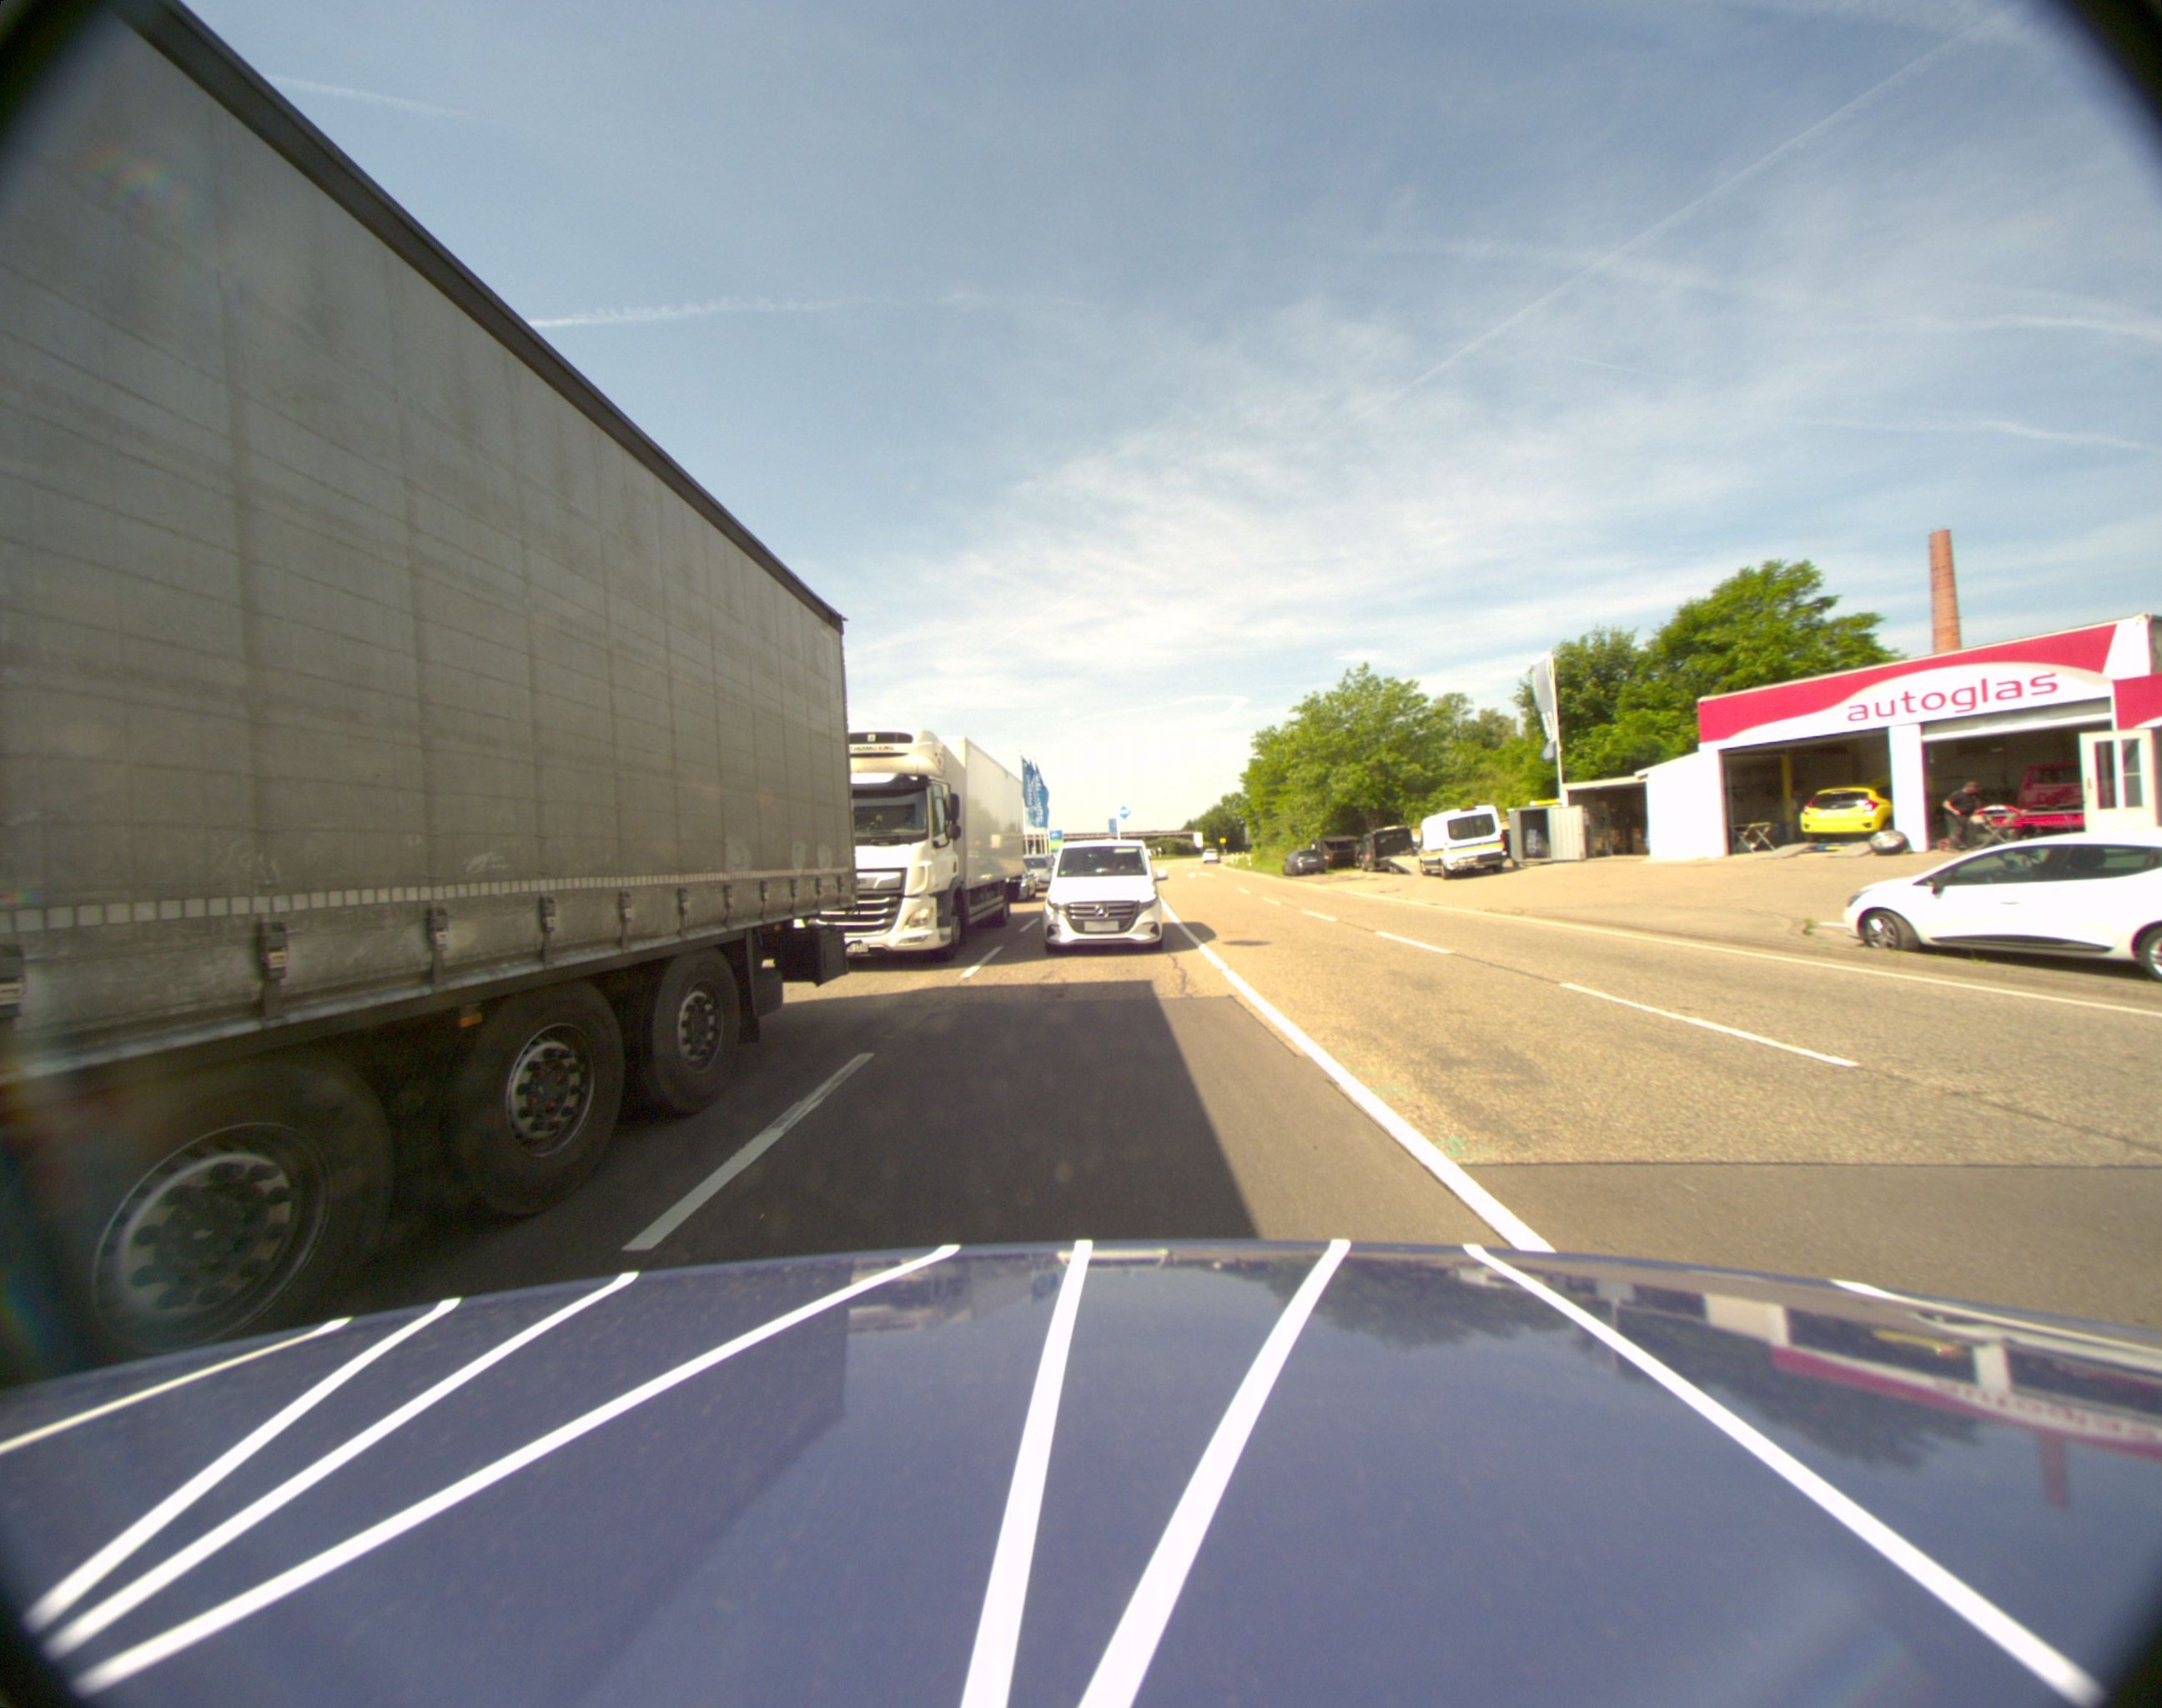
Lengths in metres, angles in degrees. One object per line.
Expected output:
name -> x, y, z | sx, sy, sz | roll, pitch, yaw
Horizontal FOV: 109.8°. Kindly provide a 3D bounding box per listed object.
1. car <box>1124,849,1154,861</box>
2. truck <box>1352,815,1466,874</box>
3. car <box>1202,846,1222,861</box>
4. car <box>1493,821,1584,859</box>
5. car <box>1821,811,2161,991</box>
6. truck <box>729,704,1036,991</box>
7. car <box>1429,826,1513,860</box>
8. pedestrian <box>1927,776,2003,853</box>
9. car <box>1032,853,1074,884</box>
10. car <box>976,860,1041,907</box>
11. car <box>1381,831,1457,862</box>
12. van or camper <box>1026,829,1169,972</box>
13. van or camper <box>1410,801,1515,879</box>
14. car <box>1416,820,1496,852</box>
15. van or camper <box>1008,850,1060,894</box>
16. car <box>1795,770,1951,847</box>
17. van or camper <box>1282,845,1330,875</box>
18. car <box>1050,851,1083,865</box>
car -> 9.227, 0.217, 120.751 | 4.248, 1.628, 1.825 | -4, -1, 30
truck -> 15.850, -0.472, 37.462 | 2.336, 2.283, 8.805 | -8, 0, 6
car -> 14.933, -0.088, 86.909 | 1.939, 1.665, 4.002 | -2, 1, 7
car -> 21.343, -0.648, 35.470 | 3.674, 1.521, 1.736 | -4, 1, -23
car -> 10.889, 0.397, 8.252 | 1.783, 1.608, 4.000 | -4, 0, 1
truck -> -3.071, -0.111, 16.048 | 2.886, 3.789, 11.142 | -3, 0, 2
car -> 20.267, -0.558, 39.501 | 3.673, 1.460, 1.737 | -4, 1, -17
pedestrian -> 21.251, -0.936, 18.275 | 0.724, 1.752, 0.894 | -4, 1, 3
car -> -1.498, 0.761, 42.161 | 1.804, 1.563, 3.714 | -2, 1, 5
car -> -2.587, 1.013, 28.023 | 1.739, 1.420, 4.225 | -4, 0, 2
car -> 19.238, -0.409, 43.250 | 3.673, 1.502, 1.715 | -4, 1, -17
van or camper -> 0.319, 0.668, 13.586 | 1.998, 2.002, 5.290 | -2, 0, 2
van or camper -> 14.676, -0.559, 29.647 | 2.158, 2.484, 5.955 | -7, 0, 14
car -> 20.499, -0.969, 41.574 | 3.673, 1.460, 1.737 | -4, 1, -17
van or camper -> -2.120, 0.782, 35.765 | 1.751, 1.777, 5.133 | -4, 0, 3
car -> 22.390, -1.283, 21.490 | 3.674, 1.715, 1.736 | -7, 2, -22
van or camper -> 12.727, 0.294, 43.286 | 1.643, 1.515, 4.468 | -4, 1, 5
car -> -2.058, 0.552, 105.983 | 4.248, 1.628, 1.825 | -4, -1, 30
